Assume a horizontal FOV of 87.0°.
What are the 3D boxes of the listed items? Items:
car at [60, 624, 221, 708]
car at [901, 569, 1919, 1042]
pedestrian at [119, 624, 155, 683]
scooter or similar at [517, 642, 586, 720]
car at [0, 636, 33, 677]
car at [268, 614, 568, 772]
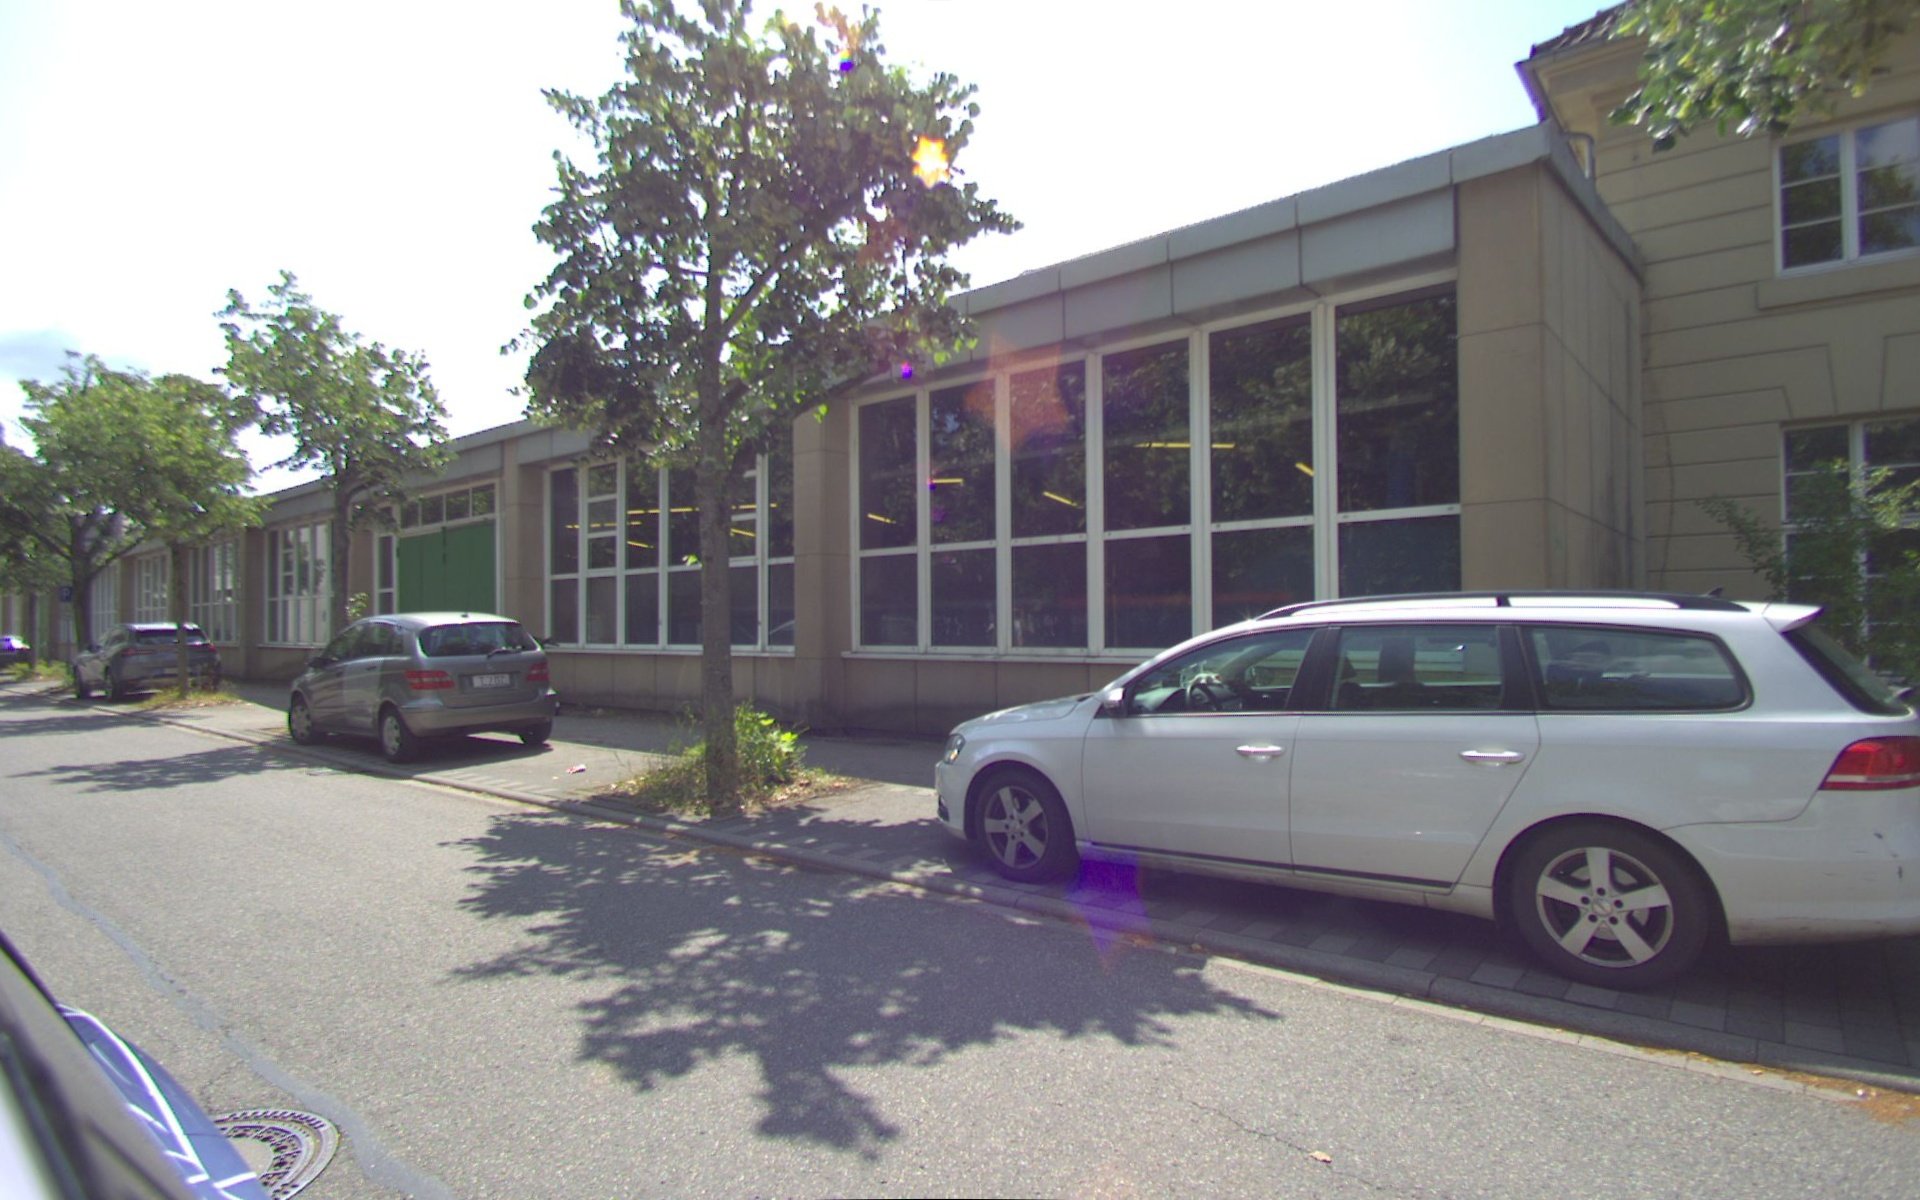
[{"bbox_3d":[-18.352,1.408,22.591,4.510,1.644,1.804,-2,0,38],"label":"car"},{"bbox_3d":[1.993,0.675,5.028,4.578,1.467,1.708,-2,0,39],"label":"car"},{"bbox_3d":[-25.850,1.689,31.788,0.670,1.801,0.779,-4,-2,43],"label":"pedestrian"},{"bbox_3d":[-6.516,1.262,16.110,1.214,1.178,0.500,-2,-1,41],"label":"scooter or similar"},{"bbox_3d":[-36.265,2.164,37.893,4.285,1.446,1.708,-3,-1,40],"label":"car"},{"bbox_3d":[-6.708,1.019,12.350,4.108,1.568,1.740,-2,0,39],"label":"car"}]
